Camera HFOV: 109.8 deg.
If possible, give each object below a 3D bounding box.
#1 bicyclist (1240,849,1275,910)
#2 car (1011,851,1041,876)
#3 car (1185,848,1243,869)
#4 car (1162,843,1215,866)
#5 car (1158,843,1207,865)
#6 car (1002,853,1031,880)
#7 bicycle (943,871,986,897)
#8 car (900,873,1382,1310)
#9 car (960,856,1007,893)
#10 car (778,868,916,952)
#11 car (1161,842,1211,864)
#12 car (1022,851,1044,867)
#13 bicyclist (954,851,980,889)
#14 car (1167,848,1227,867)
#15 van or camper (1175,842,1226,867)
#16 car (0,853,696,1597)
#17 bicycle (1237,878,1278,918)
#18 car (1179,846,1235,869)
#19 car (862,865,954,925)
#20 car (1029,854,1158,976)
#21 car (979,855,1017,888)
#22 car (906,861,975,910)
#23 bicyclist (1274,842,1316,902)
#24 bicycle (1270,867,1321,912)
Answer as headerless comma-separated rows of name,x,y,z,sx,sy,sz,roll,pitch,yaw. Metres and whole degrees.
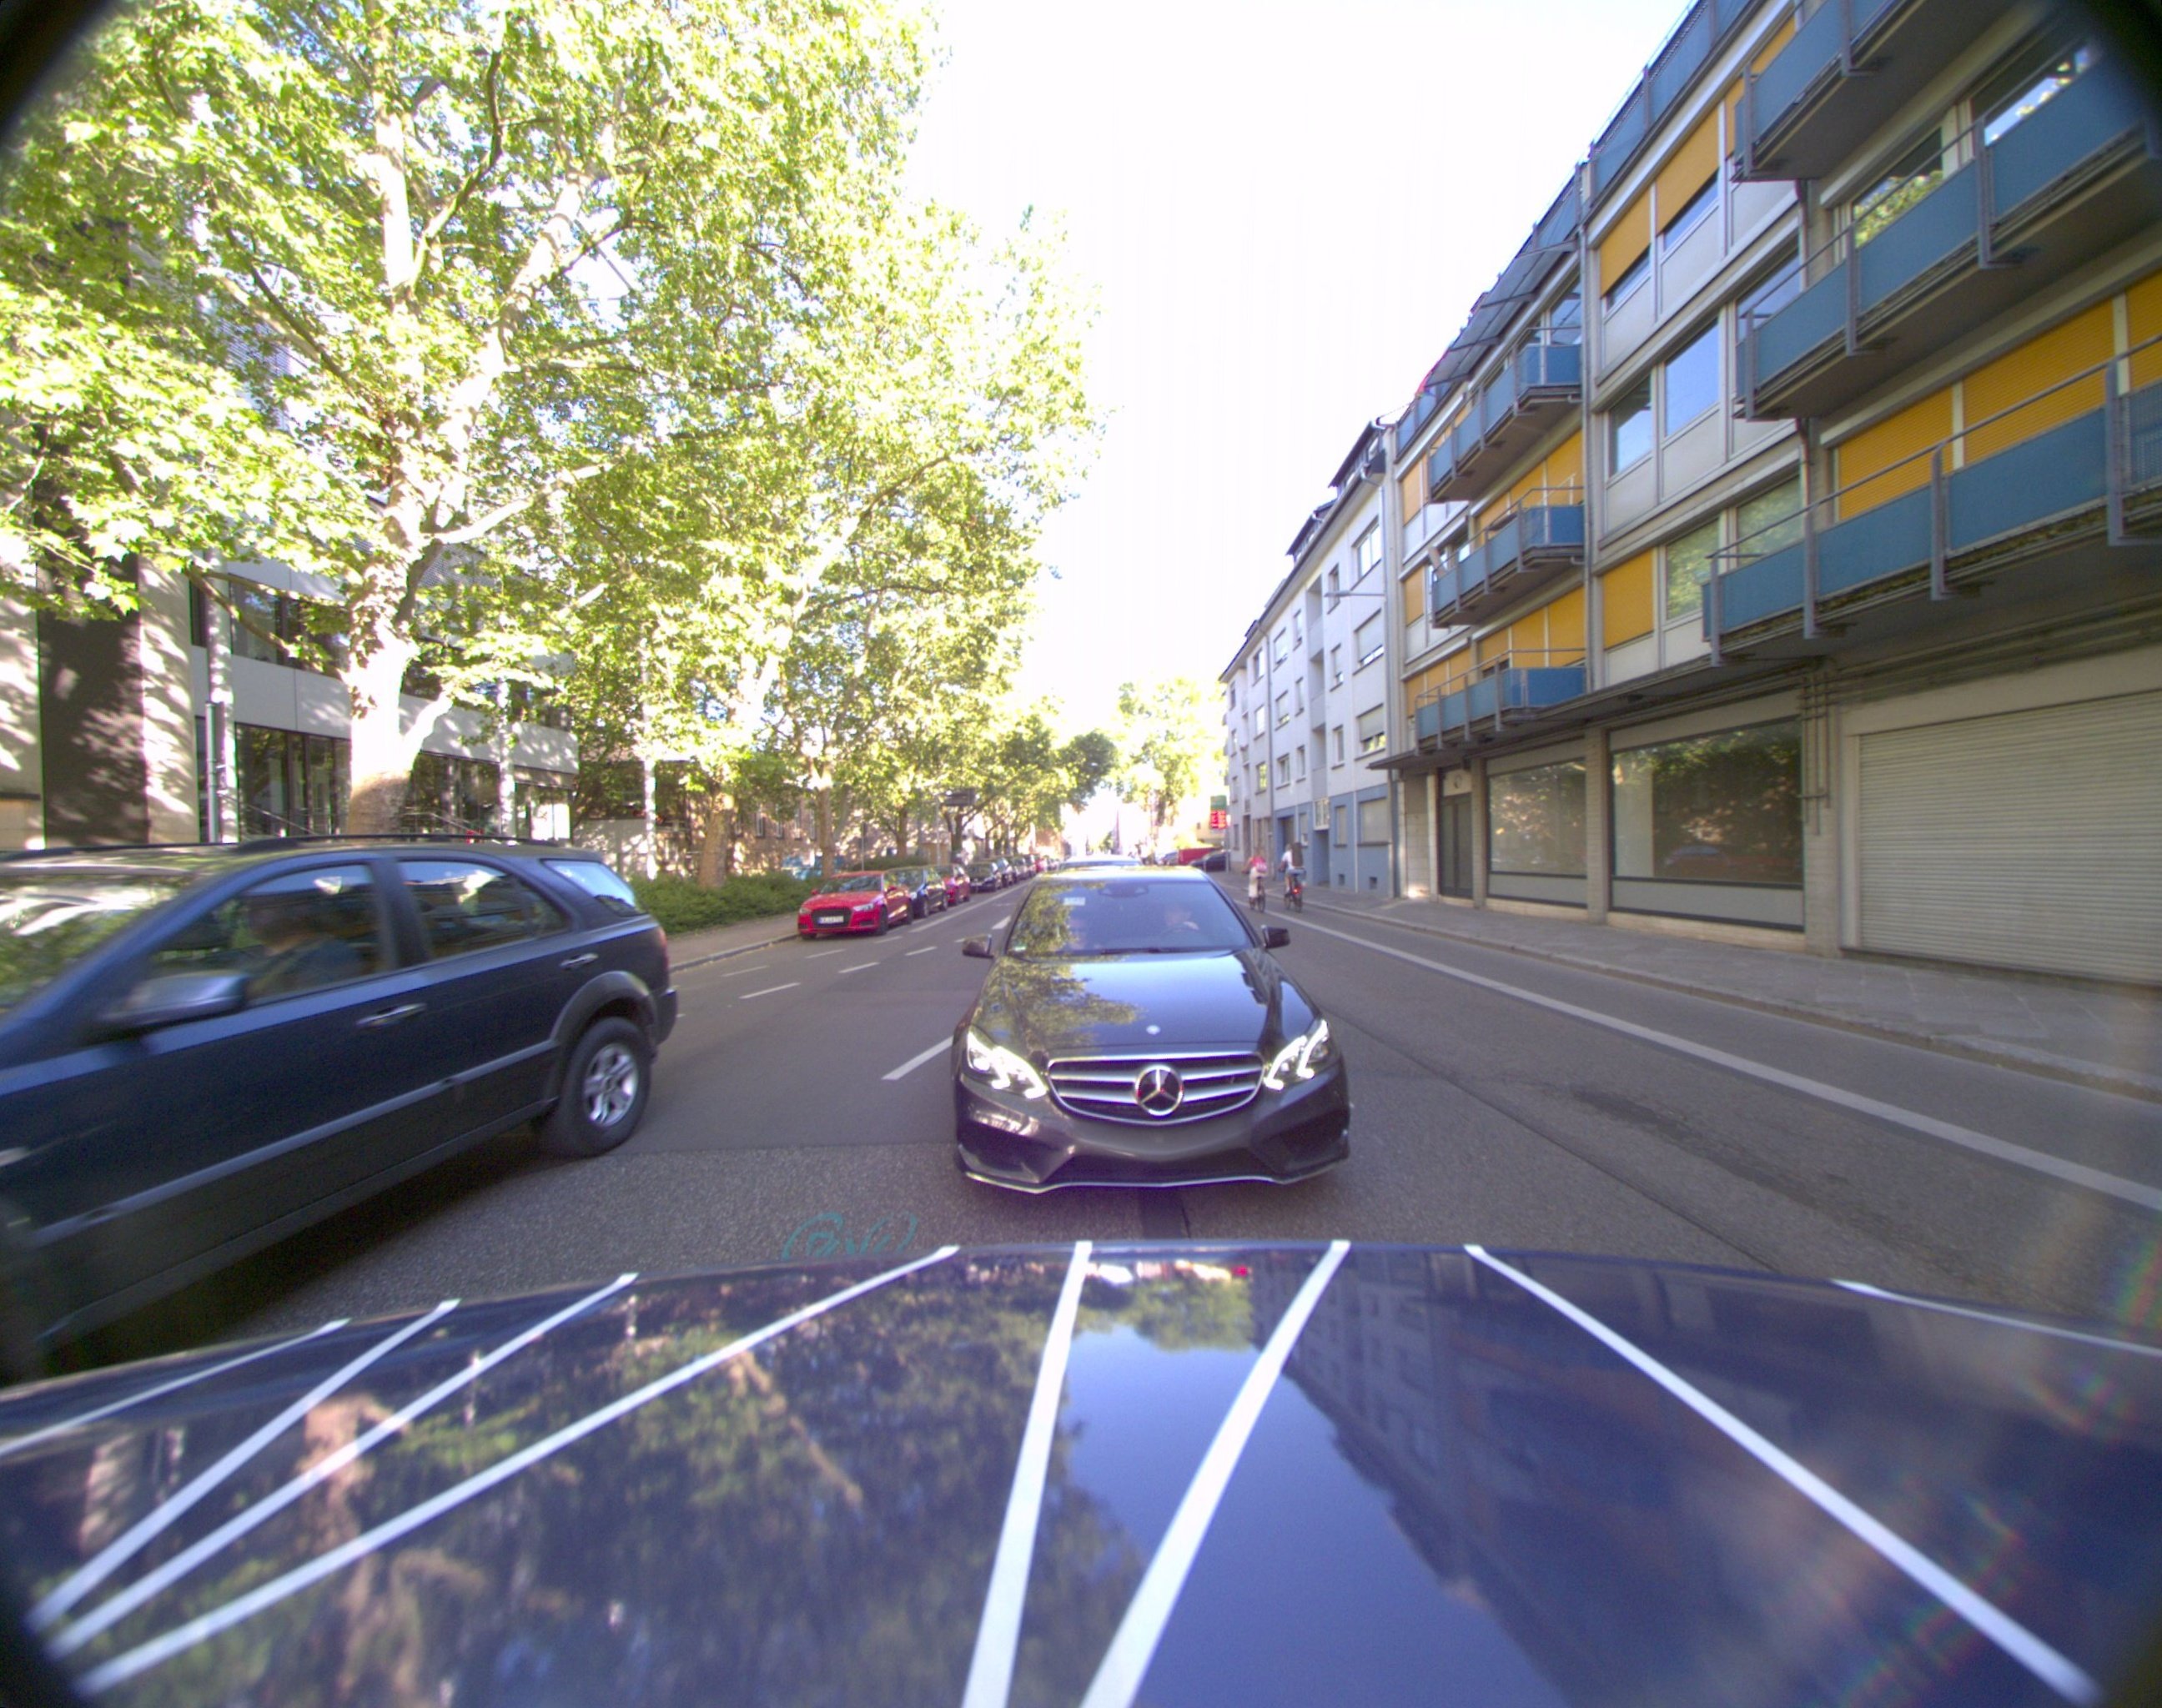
bicyclist,4.715,0.663,20.305,0.686,1.569,0.982,-2,1,1
car,-4.286,0.721,59.856,1.992,1.795,4.376,-2,0,0
car,10.307,0.328,58.970,4.146,1.486,2.000,-2,0,1
car,10.905,0.030,77.348,4.991,2.181,2.000,-2,1,1
car,11.028,-0.004,82.831,4.991,2.181,2.000,-2,1,1
car,-4.620,0.867,54.786,1.741,1.785,3.895,-2,0,0
bicycle,-5.123,1.306,33.350,1.800,1.009,0.734,-2,1,-11
car,0.220,0.929,4.743,1.740,1.448,3.864,-2,0,0
car,-4.746,0.963,37.431,1.741,1.622,4.091,-2,0,0
car,-5.233,1.175,17.613,1.830,1.519,4.142,-4,0,0
car,11.025,-0.097,80.199,4.991,2.181,2.000,-2,1,1
car,-4.392,0.437,70.453,1.741,1.469,4.091,-2,0,0
bicyclist,-5.003,0.704,33.379,1.038,1.610,0.697,-2,1,-10
car,10.153,0.289,66.710,4.990,1.486,2.000,-2,0,1
van or camper,10.051,0.028,64.208,3.997,2.002,2.000,-2,1,0
car,-3.487,0.936,2.708,1.785,1.760,4.384,-3,0,2
bicycle,4.732,1.157,20.434,0.695,0.924,1.863,-2,0,2
car,10.130,0.273,61.301,4.146,1.681,2.000,-2,0,1
car,-5.010,1.135,22.558,1.741,1.444,4.091,-4,0,0
car,0.200,0.825,12.524,1.646,1.520,4.619,-4,0,1
car,-4.561,0.918,42.321,1.634,1.677,3.907,-2,0,0
car,-5.025,1.089,27.645,1.681,1.484,3.918,-4,0,0
bicyclist,5.714,0.467,20.299,0.844,1.546,0.839,-2,1,0
bicycle,5.739,0.925,20.432,0.865,1.072,1.836,-2,0,1
